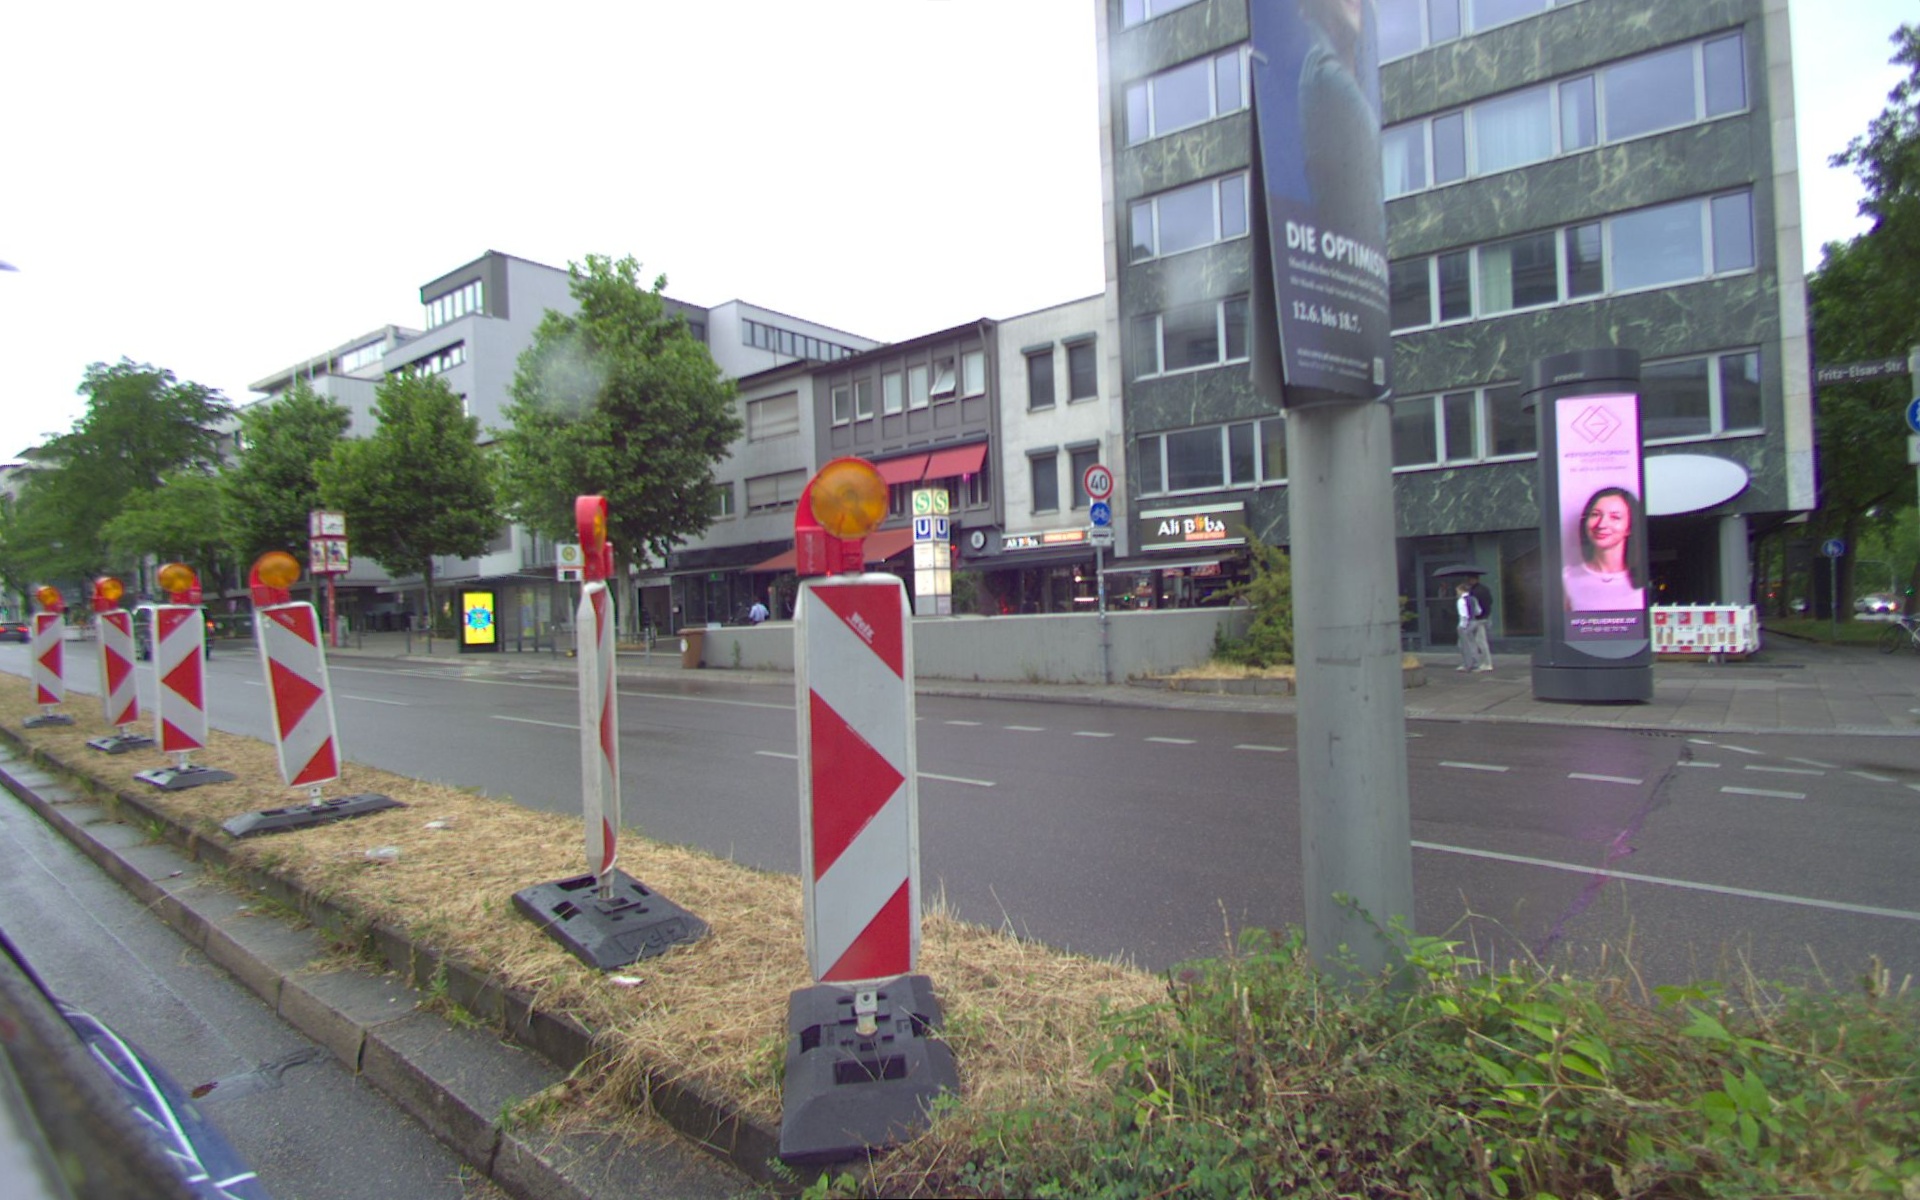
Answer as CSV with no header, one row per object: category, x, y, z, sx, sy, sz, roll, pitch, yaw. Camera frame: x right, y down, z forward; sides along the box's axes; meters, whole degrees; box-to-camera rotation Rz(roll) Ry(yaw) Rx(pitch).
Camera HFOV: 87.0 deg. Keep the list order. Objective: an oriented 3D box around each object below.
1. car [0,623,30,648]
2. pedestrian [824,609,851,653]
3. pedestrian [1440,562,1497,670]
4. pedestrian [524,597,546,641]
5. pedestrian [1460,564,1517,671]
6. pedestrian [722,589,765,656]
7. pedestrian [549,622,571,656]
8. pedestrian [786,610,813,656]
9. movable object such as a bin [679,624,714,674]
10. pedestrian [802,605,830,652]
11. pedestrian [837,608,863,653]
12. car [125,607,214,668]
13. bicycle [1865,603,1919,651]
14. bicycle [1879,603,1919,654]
car,-60.079,2.244,63.501,4.283,1.522,1.672,-2,-6,36
pedestrian,-4.300,1.086,35.539,0.611,1.540,0.660,-2,-1,44
pedestrian,9.709,0.302,19.339,0.588,2.029,0.730,0,-1,-29
pedestrian,-20.006,0.898,47.650,0.764,2.029,0.768,-1,0,-41
pedestrian,10.251,0.336,19.645,0.588,2.029,0.730,0,-1,-29
pedestrian,-6.757,0.694,31.573,0.943,2.029,0.910,-1,0,41
pedestrian,-19.180,1.843,48.528,0.764,1.577,0.768,-1,0,-41
pedestrian,-5.444,1.111,34.310,0.611,1.540,0.660,-2,-1,44
movable object such as a bin,-6.106,1.127,23.452,0.660,1.109,0.501,-1,0,39
pedestrian,-4.790,0.948,33.674,0.611,1.540,0.660,-2,-1,44
pedestrian,-3.812,1.040,35.069,0.611,1.540,0.660,-2,-1,44
car,-28.026,1.245,35.827,1.970,1.942,4.969,-1,1,-44
bicycle,21.258,0.591,22.389,1.780,1.060,0.579,-1,-1,37
bicycle,20.763,0.597,21.481,1.780,1.060,0.579,-1,-1,37
